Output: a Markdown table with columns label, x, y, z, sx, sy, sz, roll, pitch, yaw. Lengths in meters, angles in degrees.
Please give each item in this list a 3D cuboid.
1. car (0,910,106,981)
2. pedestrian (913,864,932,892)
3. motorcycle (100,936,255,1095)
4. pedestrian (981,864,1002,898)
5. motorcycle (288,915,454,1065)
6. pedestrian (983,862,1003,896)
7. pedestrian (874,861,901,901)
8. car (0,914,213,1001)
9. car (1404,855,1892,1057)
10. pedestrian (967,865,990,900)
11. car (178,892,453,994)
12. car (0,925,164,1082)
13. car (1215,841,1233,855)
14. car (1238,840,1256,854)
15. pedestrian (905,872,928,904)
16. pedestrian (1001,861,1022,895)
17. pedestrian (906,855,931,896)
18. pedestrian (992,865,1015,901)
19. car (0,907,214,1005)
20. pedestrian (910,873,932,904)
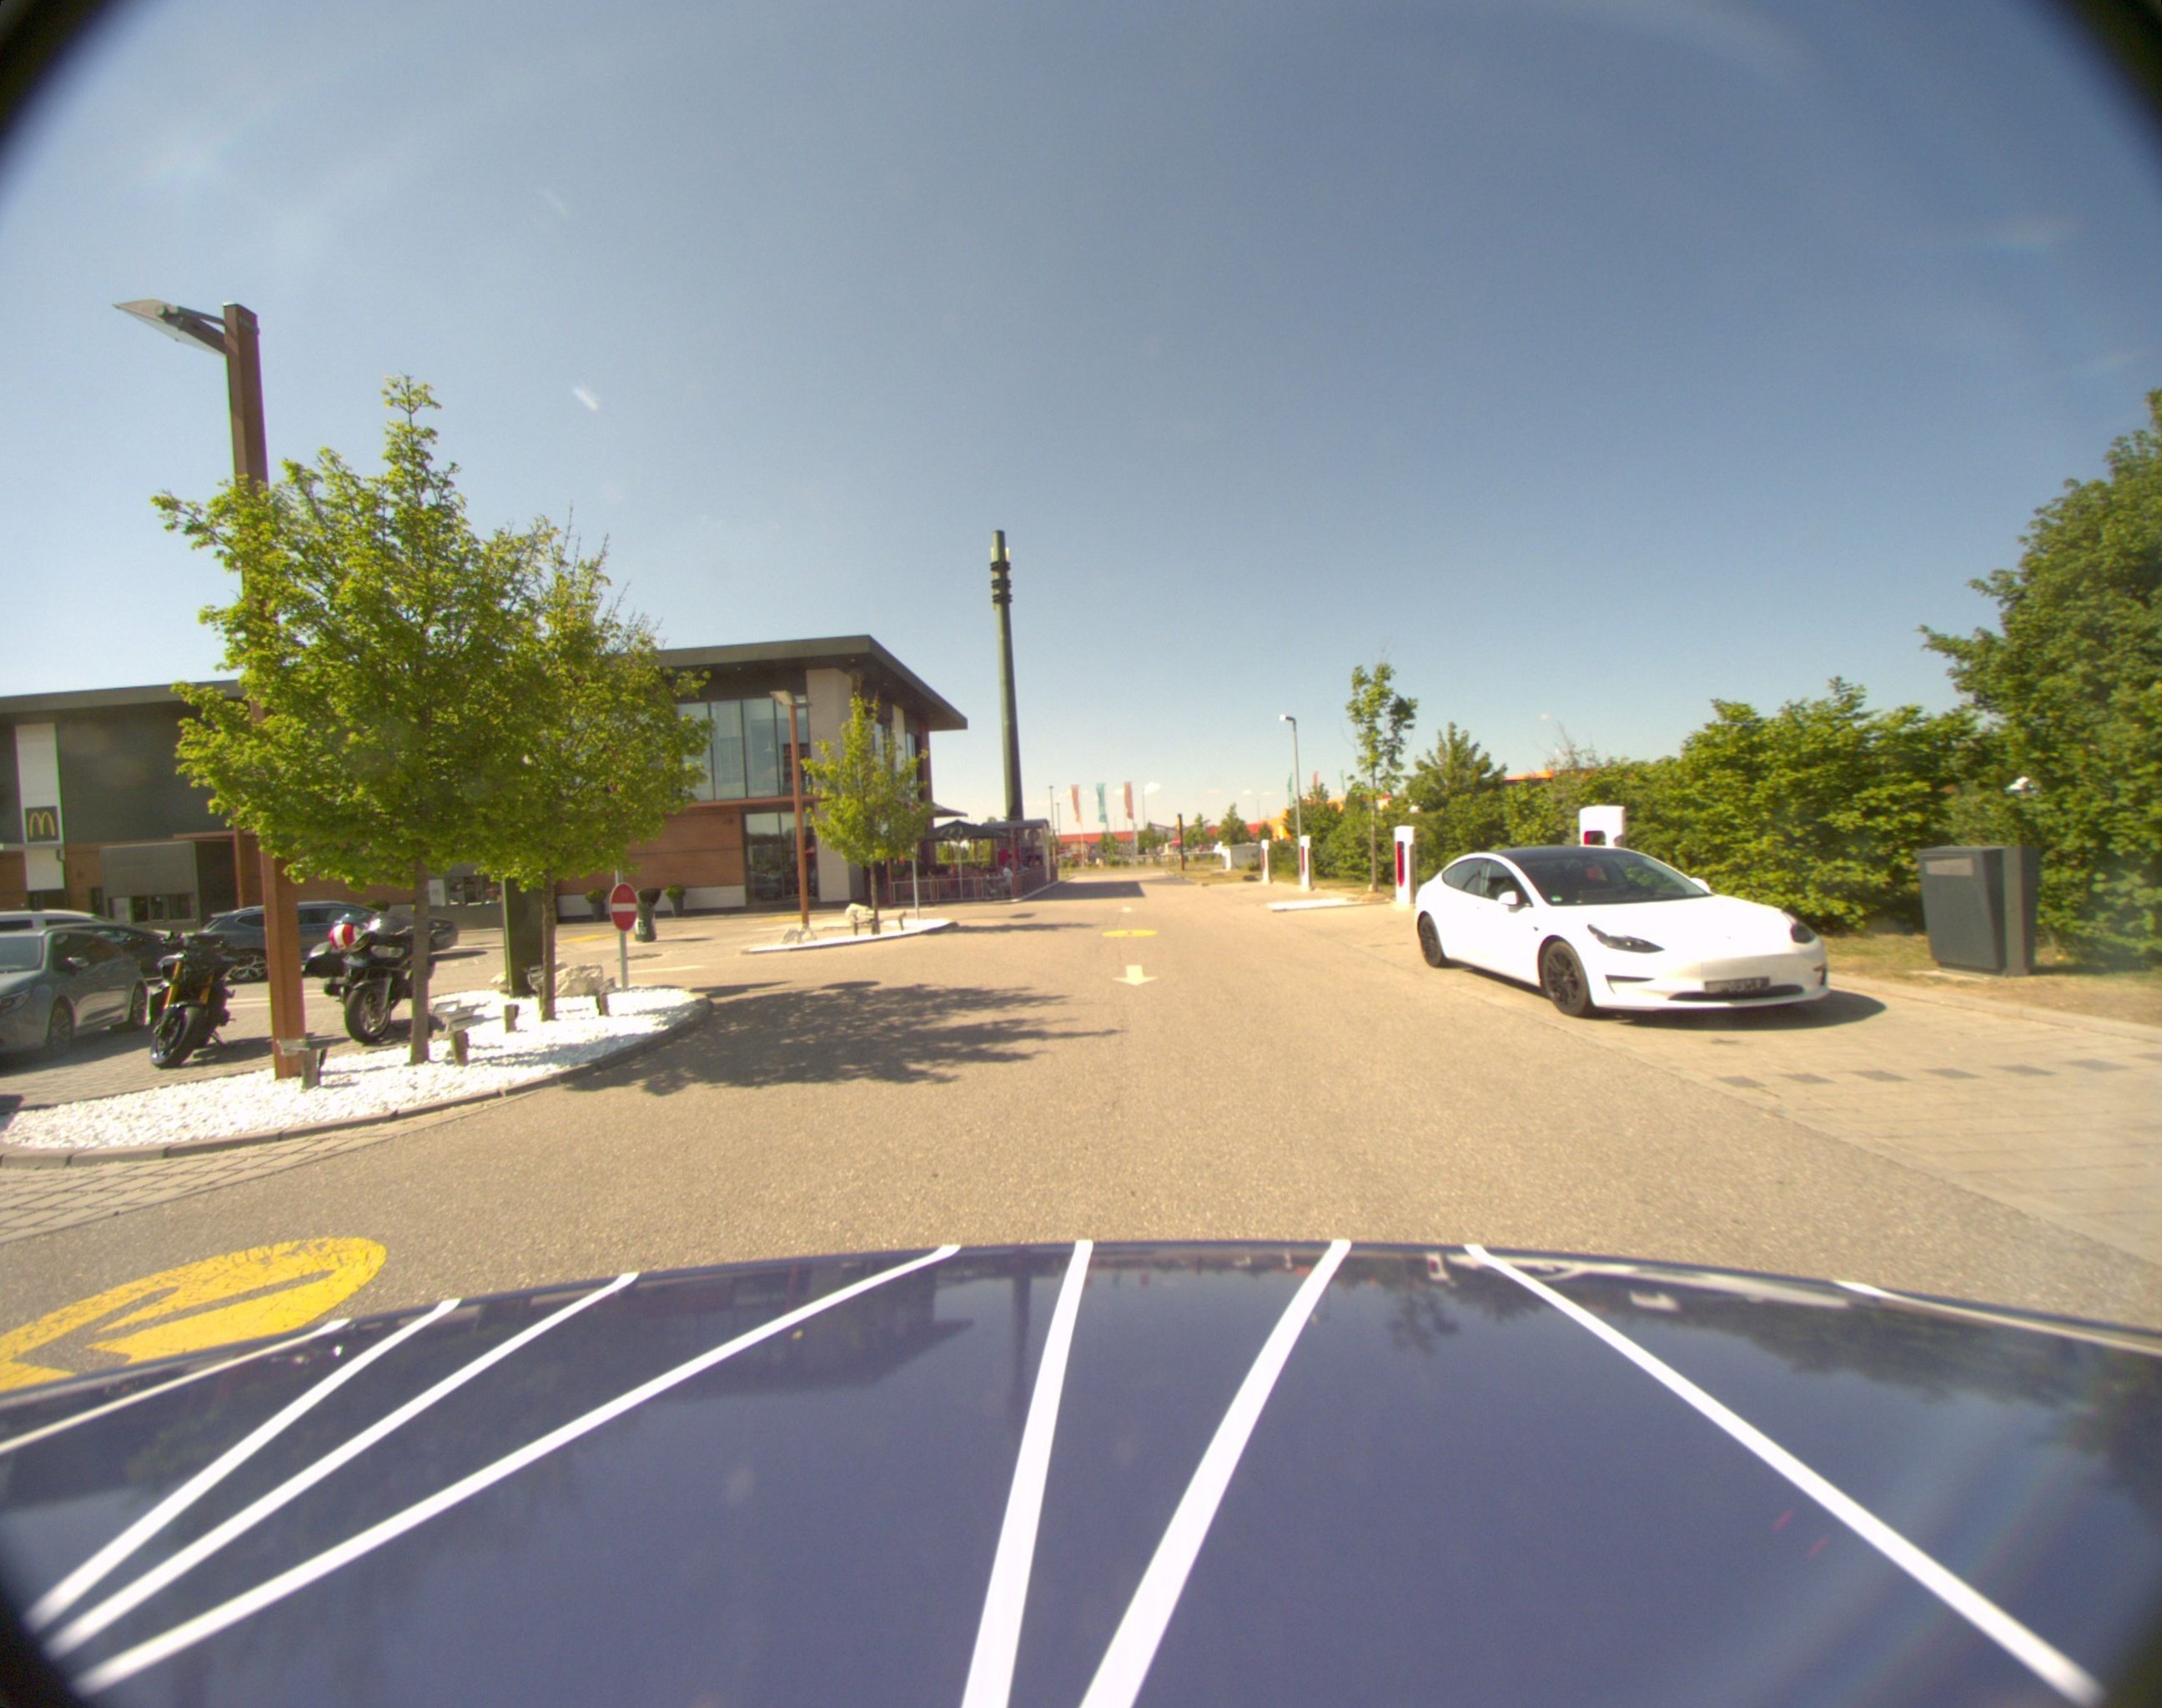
| label | x | y | z | sx | sy | sz | roll | pitch | yaw |
| --- | --- | --- | --- | --- | --- | --- | --- | --- | --- |
| car | -27.736 | 2.393 | 19.099 | 1.753 | 1.622 | 3.851 | -3 | 0 | 37 |
| pedestrian | -6.546 | 0.999 | 31.370 | 0.573 | 1.094 | 0.656 | -4 | 0 | 2 |
| motorcycle | -8.810 | 1.485 | 7.464 | 2.136 | 1.224 | 0.822 | -4 | 0 | 41 |
| pedestrian | -3.540 | 1.058 | 30.004 | 0.715 | 1.250 | 0.524 | -4 | 1 | -1 |
| motorcycle | -7.570 | 1.344 | 8.086 | 2.246 | 1.243 | 1.073 | -5 | 0 | 45 |
| pedestrian | -3.330 | 0.937 | 28.906 | 0.634 | 1.250 | 0.524 | -4 | 1 | -1 |
| pedestrian | -7.946 | 1.092 | 31.263 | 0.740 | 1.574 | 0.729 | -3 | 1 | 13 |
| car | -21.992 | 2.262 | 16.894 | 1.564 | 1.473 | 3.421 | -3 | 1 | 43 |
| car | 5.085 | 0.762 | 7.789 | 1.820 | 1.369 | 4.449 | -3 | 0 | 3 |
| pedestrian | -3.799 | 1.045 | 28.085 | 0.715 | 1.250 | 0.524 | -4 | 1 | -1 |
| car | -17.493 | 1.932 | 17.676 | 4.234 | 1.594 | 1.786 | -6 | 4 | -43 |
| car | -12.450 | 1.643 | 8.563 | 1.839 | 1.438 | 4.652 | -4 | -1 | -40 |
| car | 20.859 | -0.839 | 110.824 | 1.998 | 2.002 | 4.001 | -3 | 0 | 3 |
| car | 24.241 | -0.997 | 111.067 | 1.998 | 2.002 | 4.001 | -3 | 0 | 3 |
| pedestrian | -6.050 | 1.240 | 27.961 | 0.634 | 1.117 | 0.524 | -4 | 1 | -1 |
| pedestrian | -2.751 | 0.942 | 30.027 | 0.729 | 1.250 | 0.573 | -4 | 1 | -2 |
| pedestrian | -7.290 | 0.939 | 34.108 | 0.896 | 1.758 | 0.803 | -4 | 1 | -6 |
| pedestrian | -2.900 | 1.076 | 28.343 | 0.729 | 1.250 | 0.573 | -4 | 1 | -2 |
| car | -24.267 | 2.432 | 18.417 | 1.753 | 1.910 | 4.153 | -3 | 0 | 42 |
| pedestrian | -6.030 | 1.291 | 28.630 | 0.634 | 1.117 | 0.524 | -4 | 1 | -1 |
